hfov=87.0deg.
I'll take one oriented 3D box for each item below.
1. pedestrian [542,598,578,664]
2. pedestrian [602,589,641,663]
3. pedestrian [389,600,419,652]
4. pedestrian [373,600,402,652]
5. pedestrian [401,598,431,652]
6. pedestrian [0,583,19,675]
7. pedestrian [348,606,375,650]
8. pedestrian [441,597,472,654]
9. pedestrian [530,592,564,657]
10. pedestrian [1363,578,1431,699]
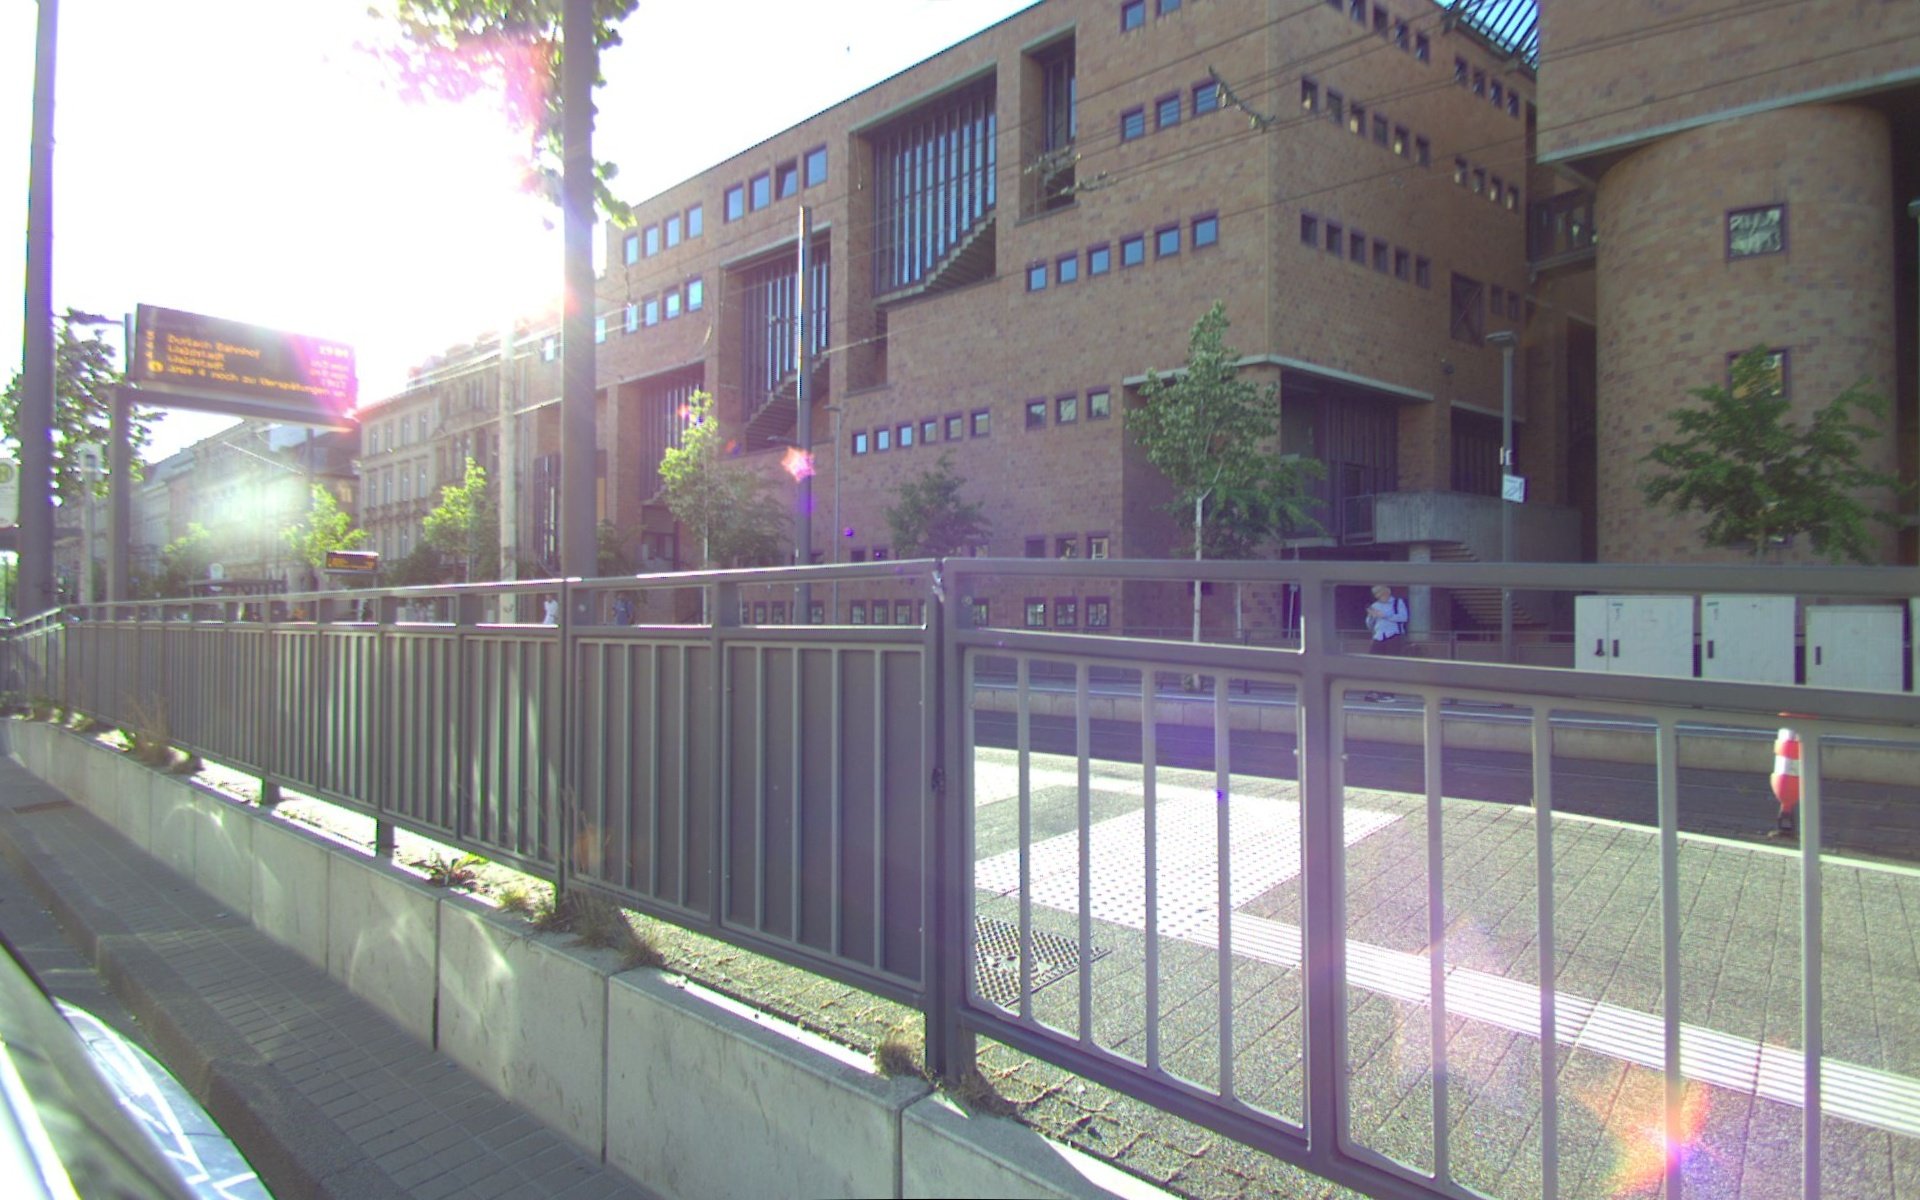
[{"bbox_3d":[-10.851,0.847,27.452,0.586,1.755,0.684,-1,-2,38],"label":"pedestrian"},{"bbox_3d":[-8.193,0.631,24.484,0.586,1.755,0.684,-1,-2,38],"label":"pedestrian"},{"bbox_3d":[-18.822,0.878,34.264,0.586,1.755,0.684,-1,-2,38],"label":"pedestrian"},{"bbox_3d":[-19.811,0.906,35.017,0.586,1.755,0.684,-1,-2,38],"label":"pedestrian"},{"bbox_3d":[-17.827,0.810,33.178,0.586,1.755,0.684,-1,-2,38],"label":"pedestrian"},{"bbox_3d":[-21.572,0.646,22.487,0.878,2.029,0.775,-1,-2,34],"label":"pedestrian"},{"bbox_3d":[-21.726,1.013,36.733,0.586,1.587,0.684,-1,-2,38],"label":"pedestrian"},{"bbox_3d":[-15.681,0.783,31.536,0.586,1.755,0.684,-1,-2,38],"label":"pedestrian"},{"bbox_3d":[-11.388,0.671,27.903,0.586,1.755,0.684,-1,-2,38],"label":"pedestrian"},{"bbox_3d":[5.807,0.506,13.441,0.653,1.546,0.693,-1,-2,38],"label":"pedestrian"}]
